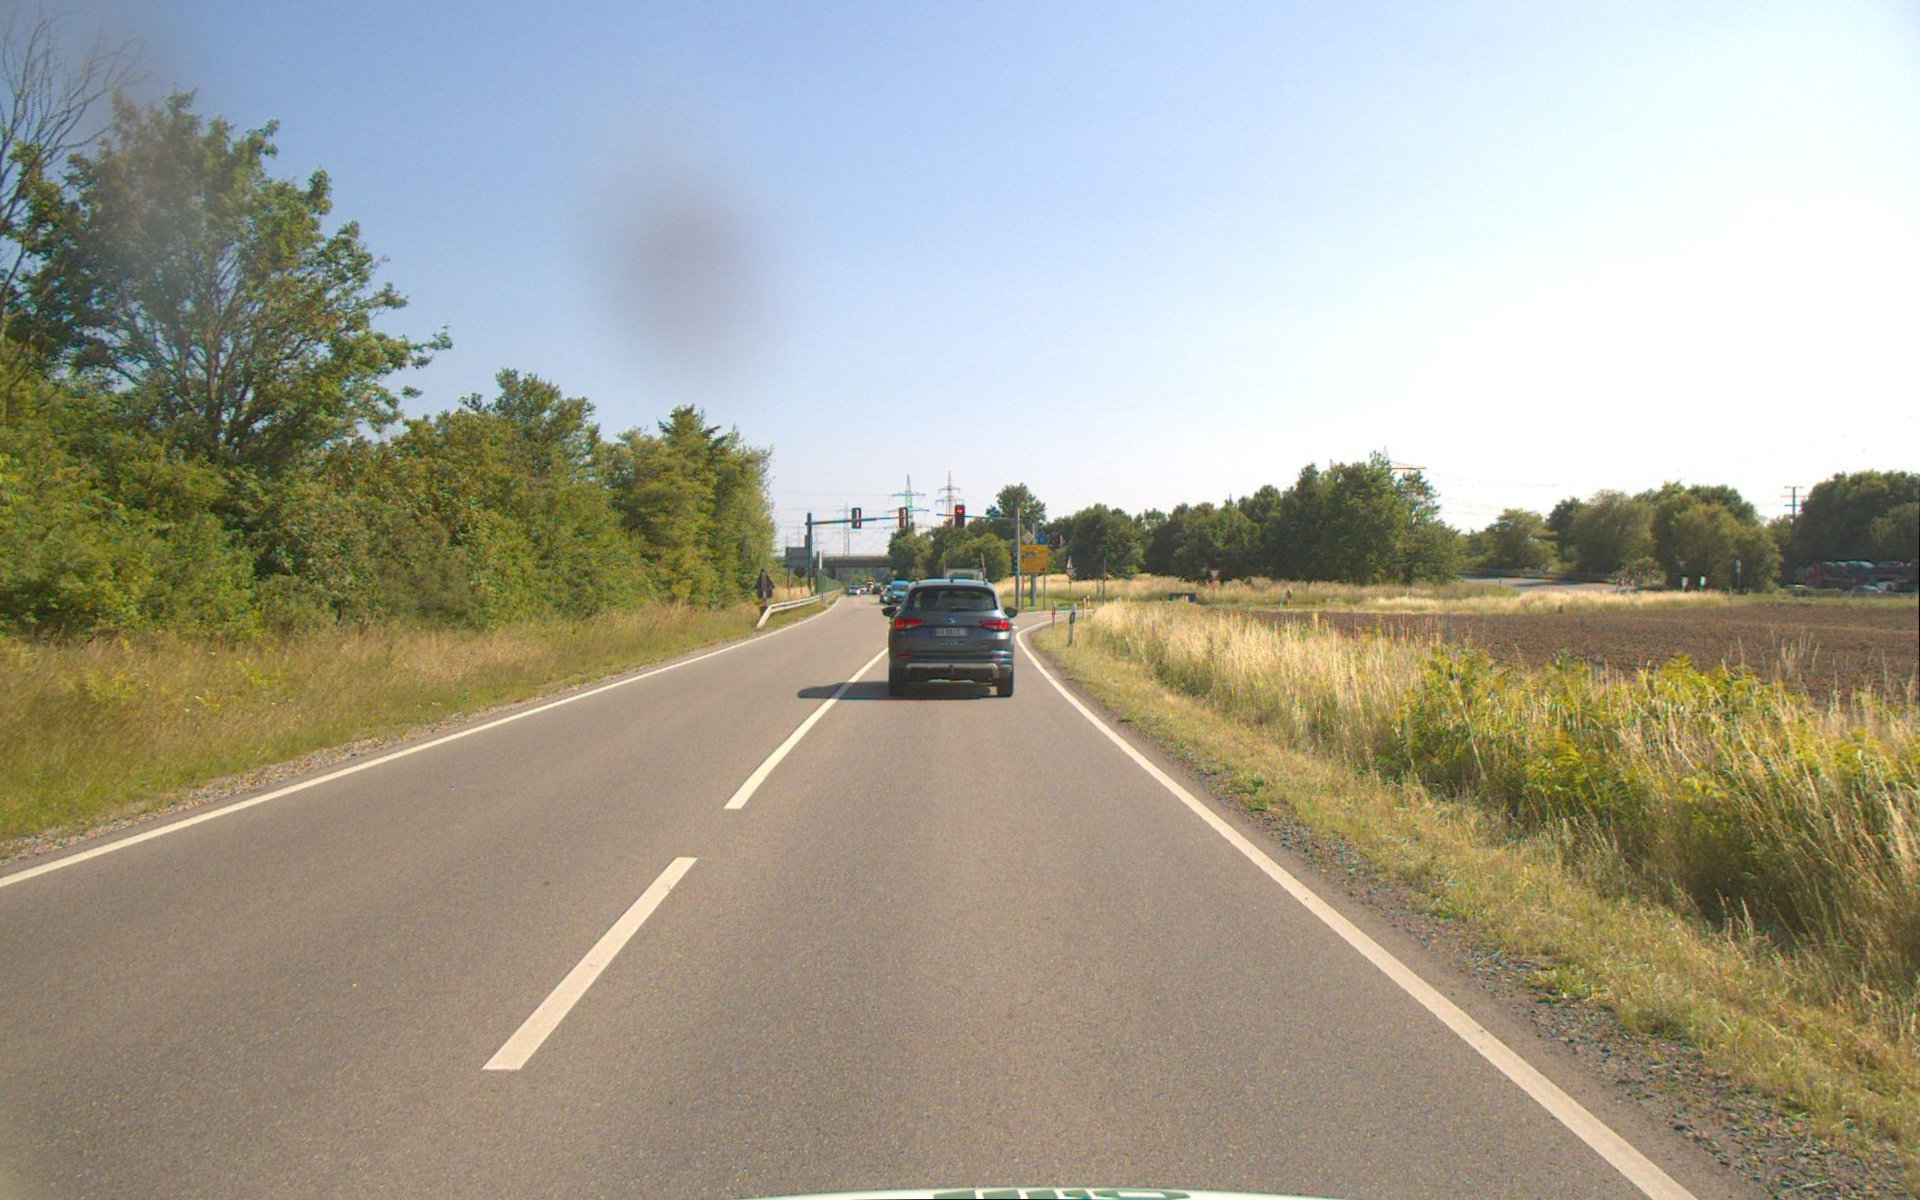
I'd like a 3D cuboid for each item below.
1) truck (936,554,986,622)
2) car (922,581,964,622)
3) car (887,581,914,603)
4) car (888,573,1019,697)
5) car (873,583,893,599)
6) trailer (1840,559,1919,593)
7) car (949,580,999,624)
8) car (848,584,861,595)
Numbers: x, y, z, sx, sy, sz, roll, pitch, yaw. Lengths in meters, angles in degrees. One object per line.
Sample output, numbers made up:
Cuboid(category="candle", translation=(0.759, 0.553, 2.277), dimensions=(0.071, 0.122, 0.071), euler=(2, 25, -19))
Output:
Cuboid(category="truck", translation=(0.062, -0.537, 79.214), dimensions=(2.289, 3.119, 5.809), euler=(1, 0, 0))
Cuboid(category="car", translation=(-0.761, 0.040, 71.716), dimensions=(1.749, 1.705, 3.999), euler=(0, 1, -1))
Cuboid(category="car", translation=(-4.461, -0.626, 123.729), dimensions=(1.780, 1.567, 3.996), euler=(0, 1, -5))
Cuboid(category="car", translation=(-0.124, 0.443, 24.129), dimensions=(1.749, 1.657, 3.999), euler=(0, 1, -1))
Cuboid(category="car", translation=(-6.735, -0.797, 143.633), dimensions=(1.651, 1.404, 3.530), euler=(0, 1, -4))
Cuboid(category="trailer", translation=(94.404, -2.444, 167.396), dimensions=(3.218, 3.324, 13.449), euler=(0, 1, -2))
Cuboid(category="car", translation=(0.503, 0.057, 61.427), dimensions=(1.749, 1.570, 3.999), euler=(0, 1, -1))
Cuboid(category="car", translation=(-14.775, -1.484, 230.991), dimensions=(1.788, 1.456, 3.996), euler=(0, 1, -5))
